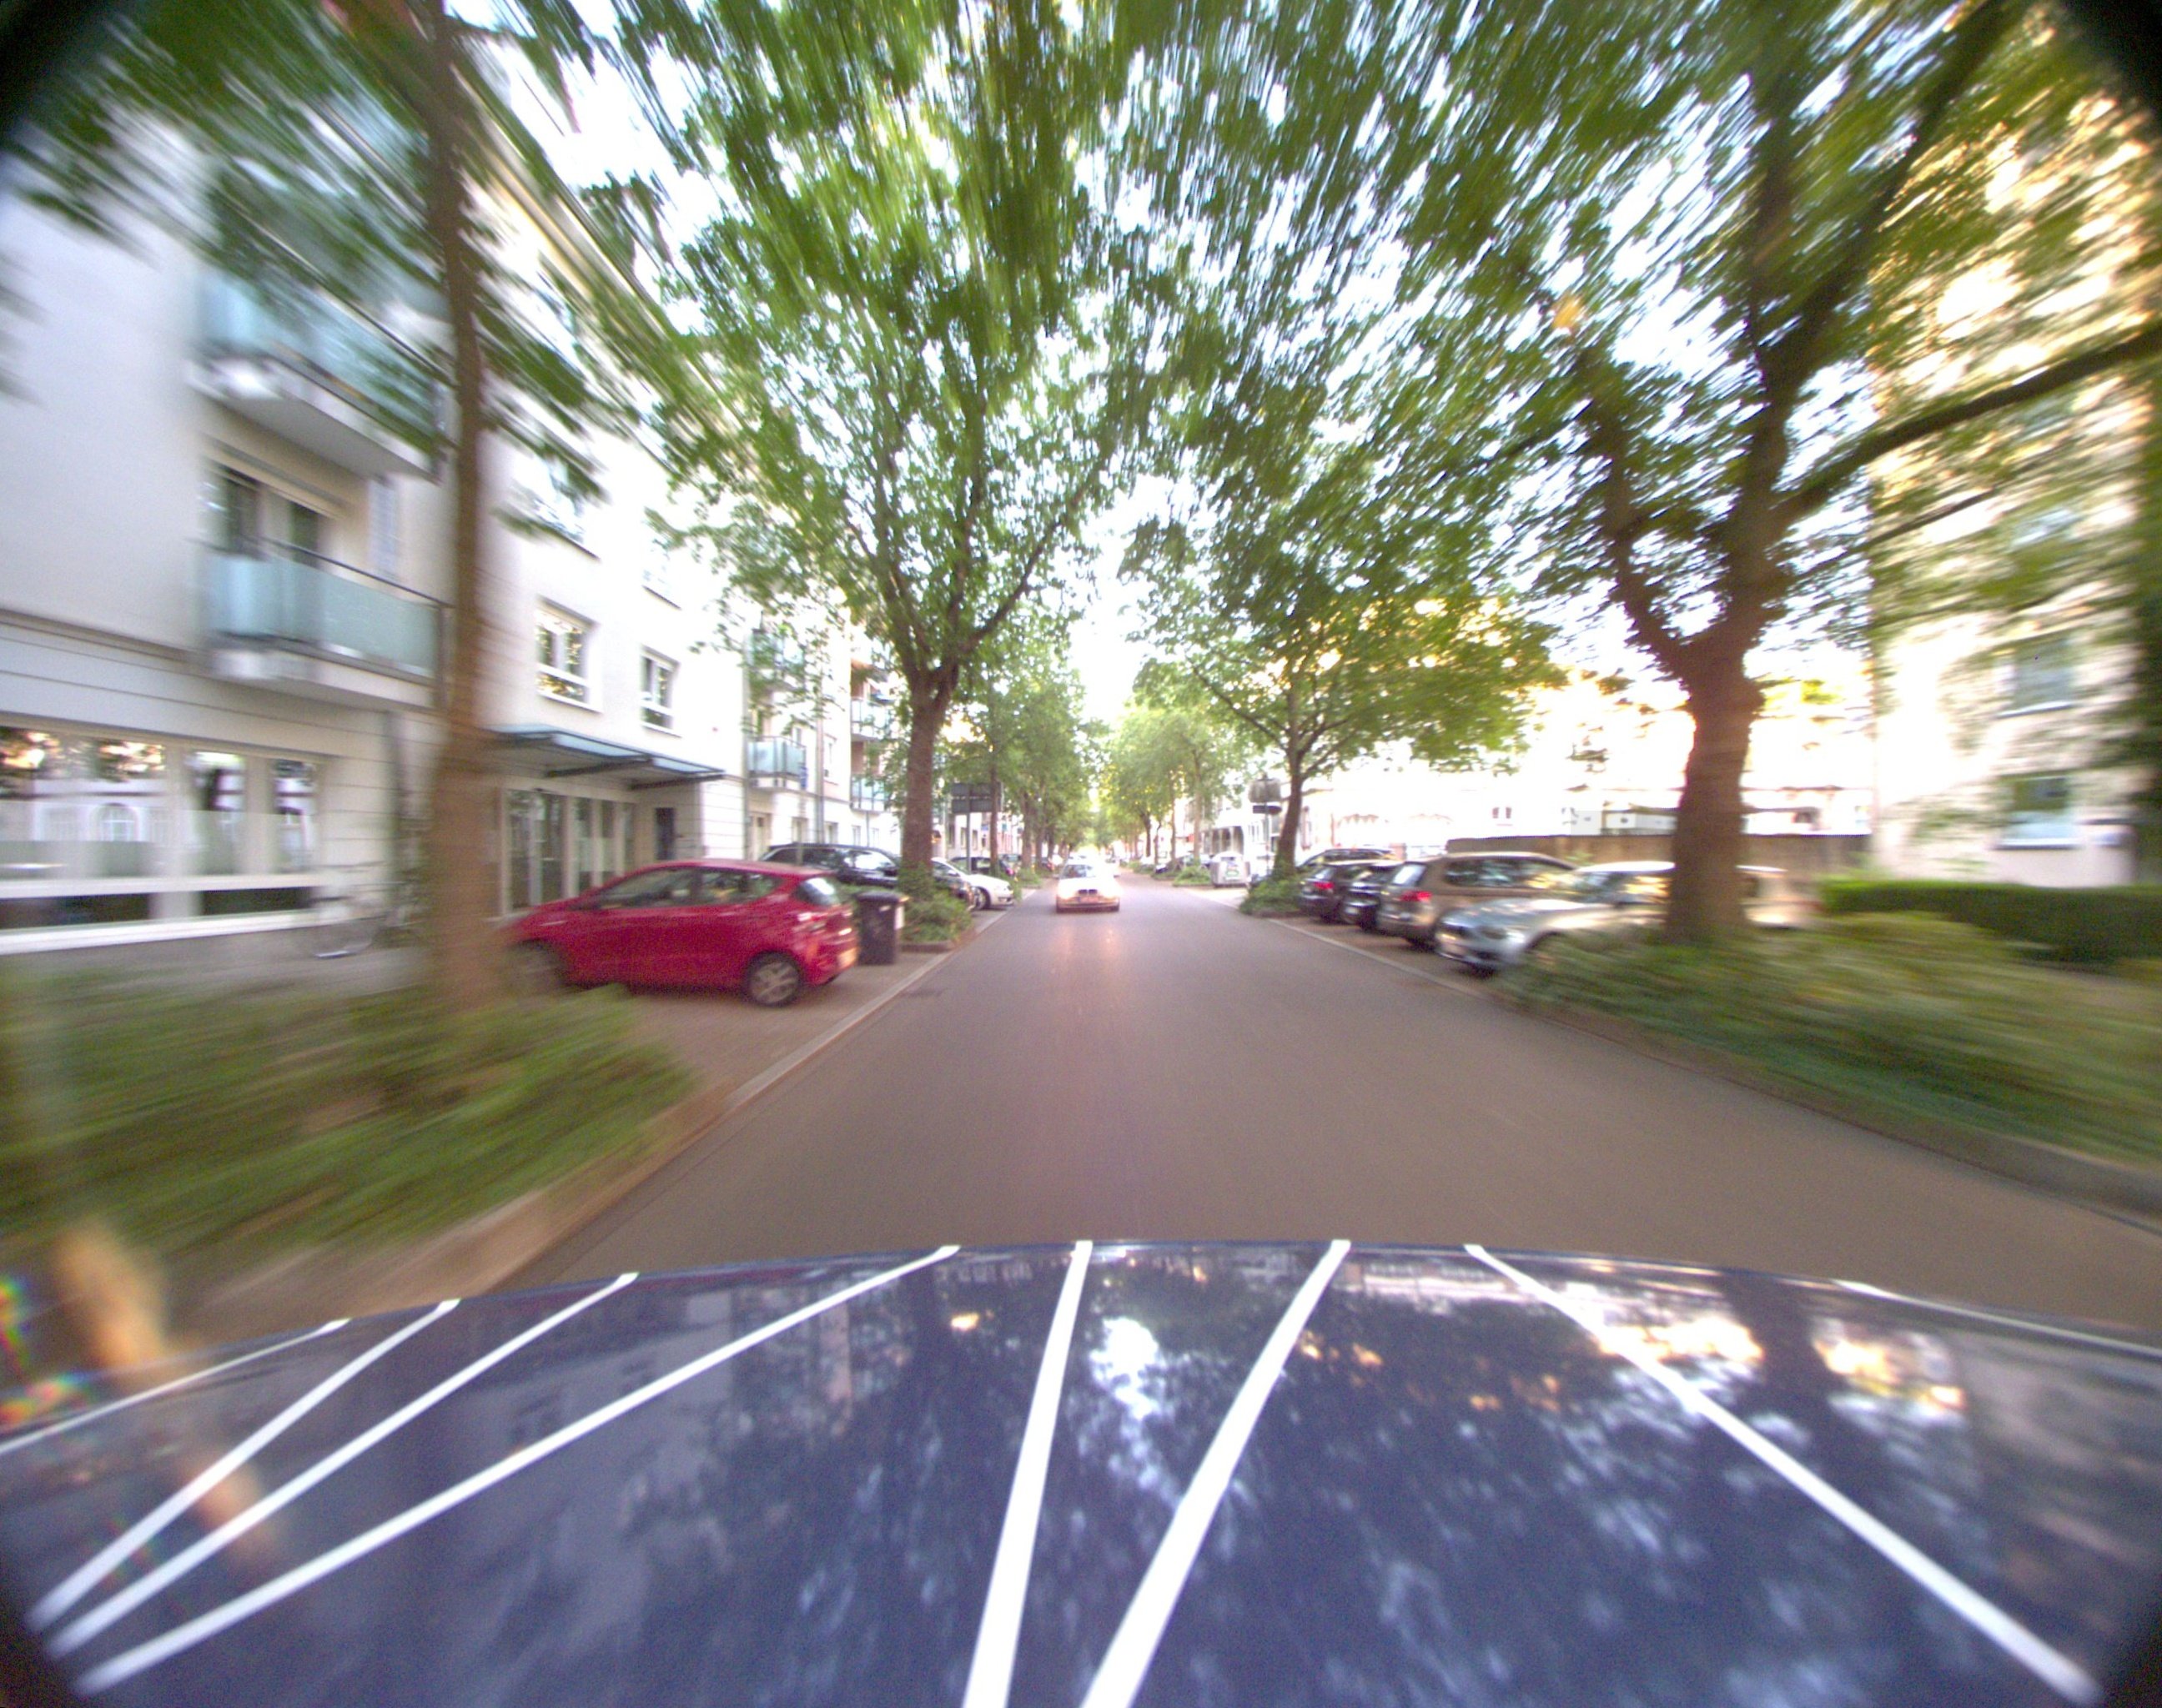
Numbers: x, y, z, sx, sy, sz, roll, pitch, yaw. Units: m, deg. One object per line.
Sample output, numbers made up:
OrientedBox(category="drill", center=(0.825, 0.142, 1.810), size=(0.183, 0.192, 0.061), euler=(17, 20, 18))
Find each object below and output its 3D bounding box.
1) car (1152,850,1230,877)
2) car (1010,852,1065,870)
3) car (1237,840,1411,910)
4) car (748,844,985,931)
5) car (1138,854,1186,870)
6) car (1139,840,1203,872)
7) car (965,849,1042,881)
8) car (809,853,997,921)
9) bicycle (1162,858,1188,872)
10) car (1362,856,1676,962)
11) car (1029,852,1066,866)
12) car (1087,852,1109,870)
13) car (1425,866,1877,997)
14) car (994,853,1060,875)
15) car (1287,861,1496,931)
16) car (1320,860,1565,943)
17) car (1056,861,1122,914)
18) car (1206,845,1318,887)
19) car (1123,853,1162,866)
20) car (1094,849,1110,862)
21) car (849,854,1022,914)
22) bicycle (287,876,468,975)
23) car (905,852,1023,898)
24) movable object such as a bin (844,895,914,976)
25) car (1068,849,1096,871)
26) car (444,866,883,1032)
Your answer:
OrientedBox(category="car", center=(7.125, 0.603, 49.611), size=(4.864, 1.612, 2.160), euler=(-1, 0, 1))
OrientedBox(category="car", center=(-3.997, 0.640, 70.592), size=(4.851, 1.440, 2.042), euler=(2, 0, 3))
OrientedBox(category="car", center=(7.133, 0.588, 22.644), size=(4.517, 1.944, 2.000), euler=(-1, 0, -1))
OrientedBox(category="car", center=(-4.582, 0.709, 16.834), size=(4.655, 1.608, 2.009), euler=(3, 0, -3))
OrientedBox(category="car", center=(7.464, 0.712, 70.261), size=(4.178, 1.460, 1.953), euler=(-1, 0, 1))
OrientedBox(category="car", center=(7.291, 0.166, 62.021), size=(5.016, 2.558, 2.121), euler=(-1, 0, 0))
OrientedBox(category="car", center=(-4.255, 0.607, 42.078), size=(3.979, 1.576, 1.916), euler=(2, 0, 0))
OrientedBox(category="car", center=(-4.448, 0.791, 19.426), size=(4.233, 1.430, 1.930), euler=(3, 1, 2))
OrientedBox(category="bicycle", center=(5.860, 0.676, 47.497), size=(1.556, 0.826, 0.613), euler=(-1, 1, 4))
OrientedBox(category="car", center=(6.898, 0.836, 12.380), size=(3.995, 1.556, 1.930), euler=(-1, 0, 6))
OrientedBox(category="car", center=(-3.700, 0.597, 84.414), size=(4.093, 1.482, 1.797), euler=(-1, 0, -3))
OrientedBox(category="car", center=(1.797, 0.721, 79.793), size=(1.998, 1.838, 4.001), euler=(-2, 0, 5))
OrientedBox(category="car", center=(6.926, 0.905, 9.607), size=(4.298, 1.421, 1.879), euler=(-1, 0, 0))
OrientedBox(category="car", center=(-3.923, 0.689, 55.276), size=(4.468, 1.419, 2.012), euler=(2, 1, 5))
OrientedBox(category="car", center=(6.996, 0.920, 17.427), size=(3.997, 1.455, 1.922), euler=(-1, 0, -1))
OrientedBox(category="car", center=(7.021, 0.887, 15.045), size=(3.998, 1.482, 1.825), euler=(-1, 0, -2))
OrientedBox(category="car", center=(0.141, 0.904, 22.243), size=(1.737, 1.363, 4.332), euler=(-1, 0, -2))
OrientedBox(category="car", center=(8.064, 0.521, 34.151), size=(4.517, 1.761, 2.000), euler=(-1, 0, -1))
OrientedBox(category="car", center=(7.355, 0.630, 91.141), size=(4.520, 1.517, 1.871), euler=(-1, 0, 0))
OrientedBox(category="car", center=(3.065, 0.181, 108.593), size=(1.998, 1.838, 4.001), euler=(-2, 0, 5))
OrientedBox(category="car", center=(-4.094, 0.832, 21.934), size=(4.611, 1.459, 1.796), euler=(2, 0, 0))
OrientedBox(category="bicycle", center=(-8.472, 0.809, 9.270), size=(0.425, 1.031, 1.882), euler=(1, 0, 1))
OrientedBox(category="car", center=(-4.231, 0.760, 28.029), size=(4.095, 1.443, 1.934), euler=(3, 0, -5))
OrientedBox(category="movable object such as a bin", center=(-2.899, 1.152, 10.956), size=(0.762, 1.078, 0.785), euler=(1, 0, 1))
OrientedBox(category="car", center=(0.106, 0.466, 61.197), size=(1.892, 1.636, 4.001), euler=(-2, 0, 5))
OrientedBox(category="car", center=(-4.337, 0.951, 8.413), size=(3.786, 1.535, 1.877), euler=(-1, 0, -1))
